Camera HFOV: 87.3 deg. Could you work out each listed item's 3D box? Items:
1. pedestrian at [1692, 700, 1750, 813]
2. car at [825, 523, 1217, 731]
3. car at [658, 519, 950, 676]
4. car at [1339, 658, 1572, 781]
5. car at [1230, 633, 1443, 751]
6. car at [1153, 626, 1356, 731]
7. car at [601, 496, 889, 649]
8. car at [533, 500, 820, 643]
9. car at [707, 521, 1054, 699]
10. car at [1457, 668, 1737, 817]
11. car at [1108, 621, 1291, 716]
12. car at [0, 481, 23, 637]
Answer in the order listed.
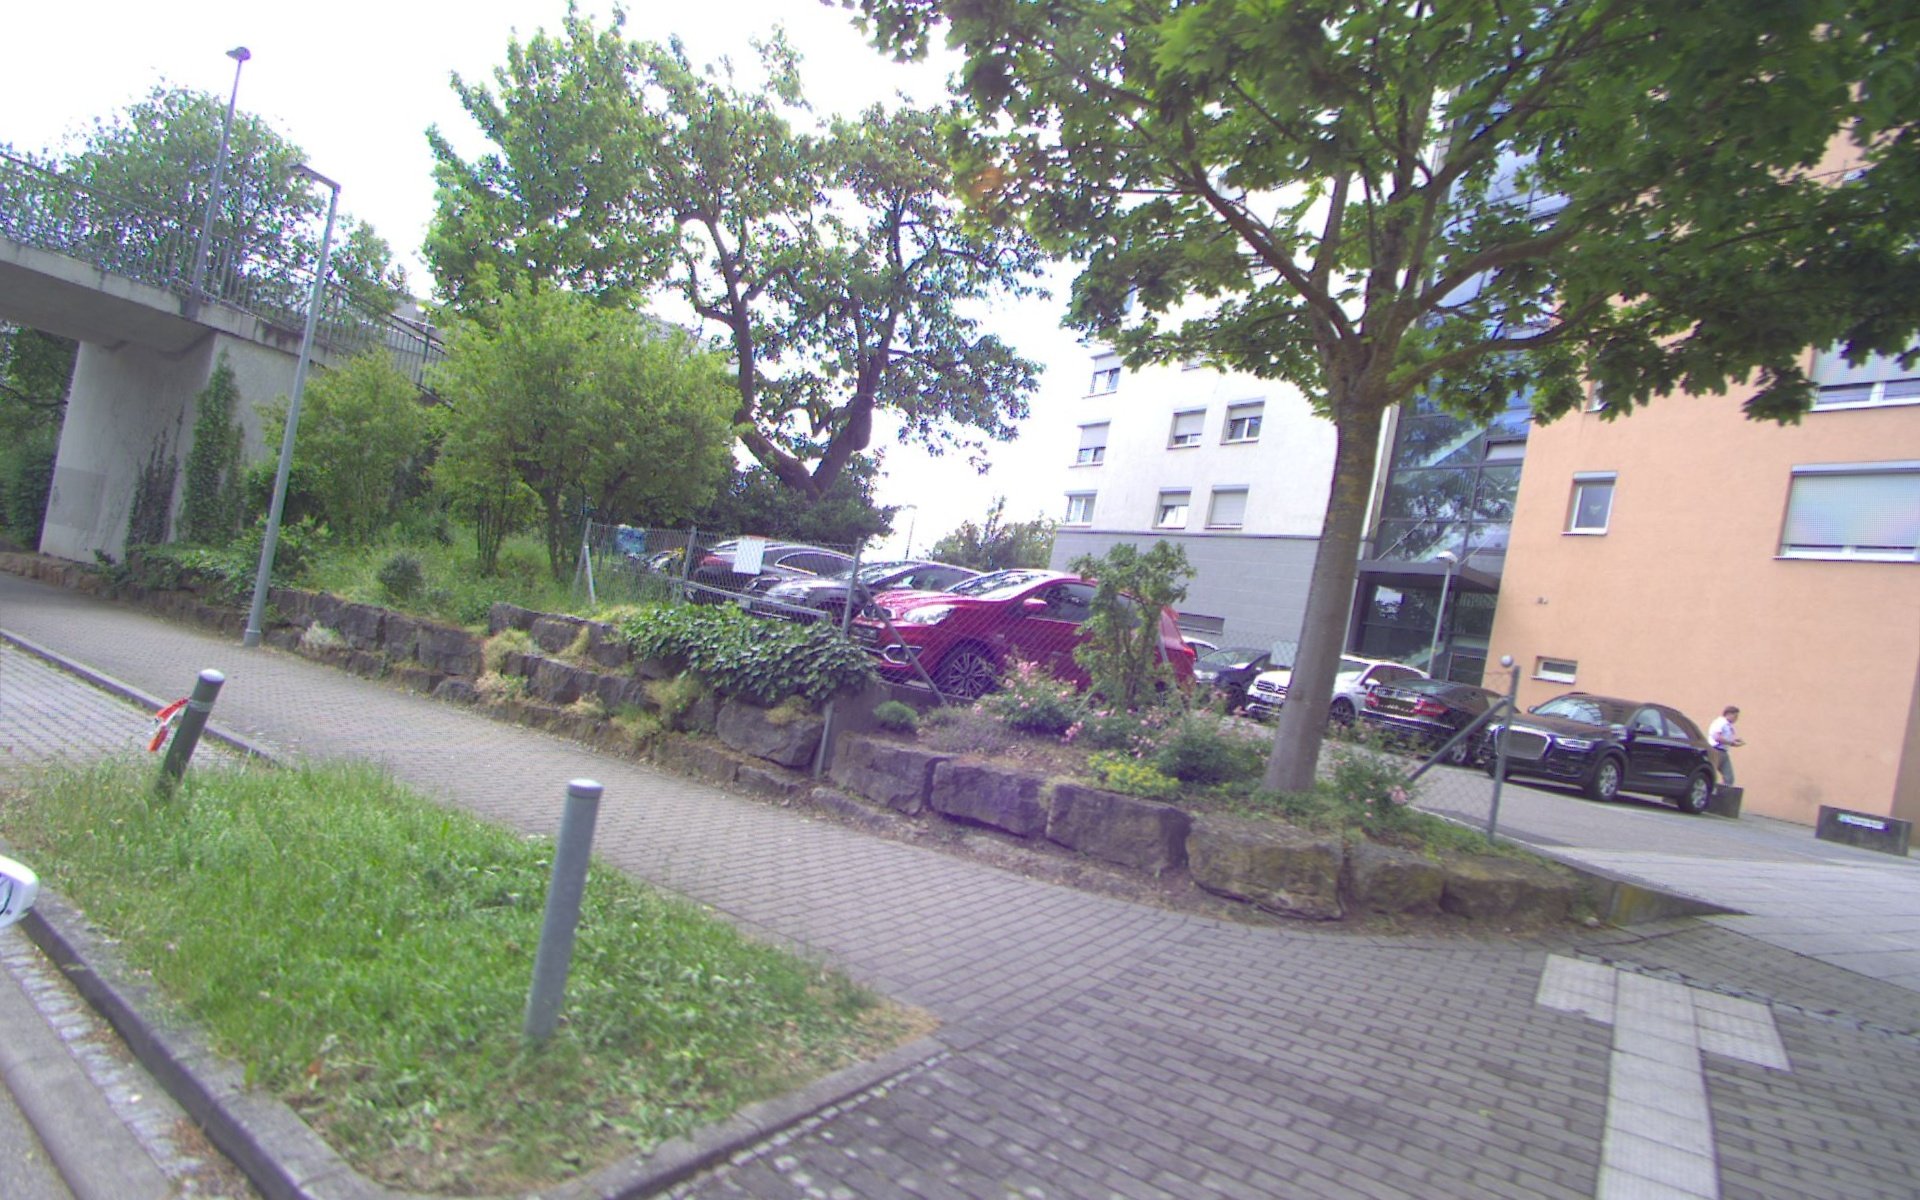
[{"bbox_3d":[13.283,2.726,17.565,0.477,1.873,0.501,11,-2,-40],"label":"pedestrian"},{"bbox_3d":[0.691,0.319,10.448,3.630,1.454,1.670,12,-3,-32],"label":"car"},{"bbox_3d":[-2.197,-0.001,14.449,3.630,1.514,1.670,12,-3,-32],"label":"car"},{"bbox_3d":[8.853,2.140,17.939,3.799,1.474,1.681,11,-2,-27],"label":"car"},{"bbox_3d":[7.396,1.822,19.626,4.100,1.611,1.677,12,-3,-34],"label":"car"},{"bbox_3d":[6.409,1.711,21.853,4.012,1.533,1.744,11,-3,-27],"label":"car"},{"bbox_3d":[-3.442,-0.390,16.326,3.969,1.631,1.927,12,-3,-34],"label":"car"},{"bbox_3d":[-5.129,-0.467,18.455,4.523,1.686,1.927,12,-3,-34],"label":"car"},{"bbox_3d":[-0.928,0.160,12.371,3.766,1.437,1.670,12,-3,-32],"label":"car"},{"bbox_3d":[9.925,2.224,15.643,4.012,1.534,1.743,11,-1,-27],"label":"car"},{"bbox_3d":[5.759,1.649,24.147,3.952,1.533,1.745,11,-3,-27],"label":"car"},{"bbox_3d":[-12.782,-0.716,11.642,4.301,1.697,1.816,6,-2,35],"label":"car"}]
